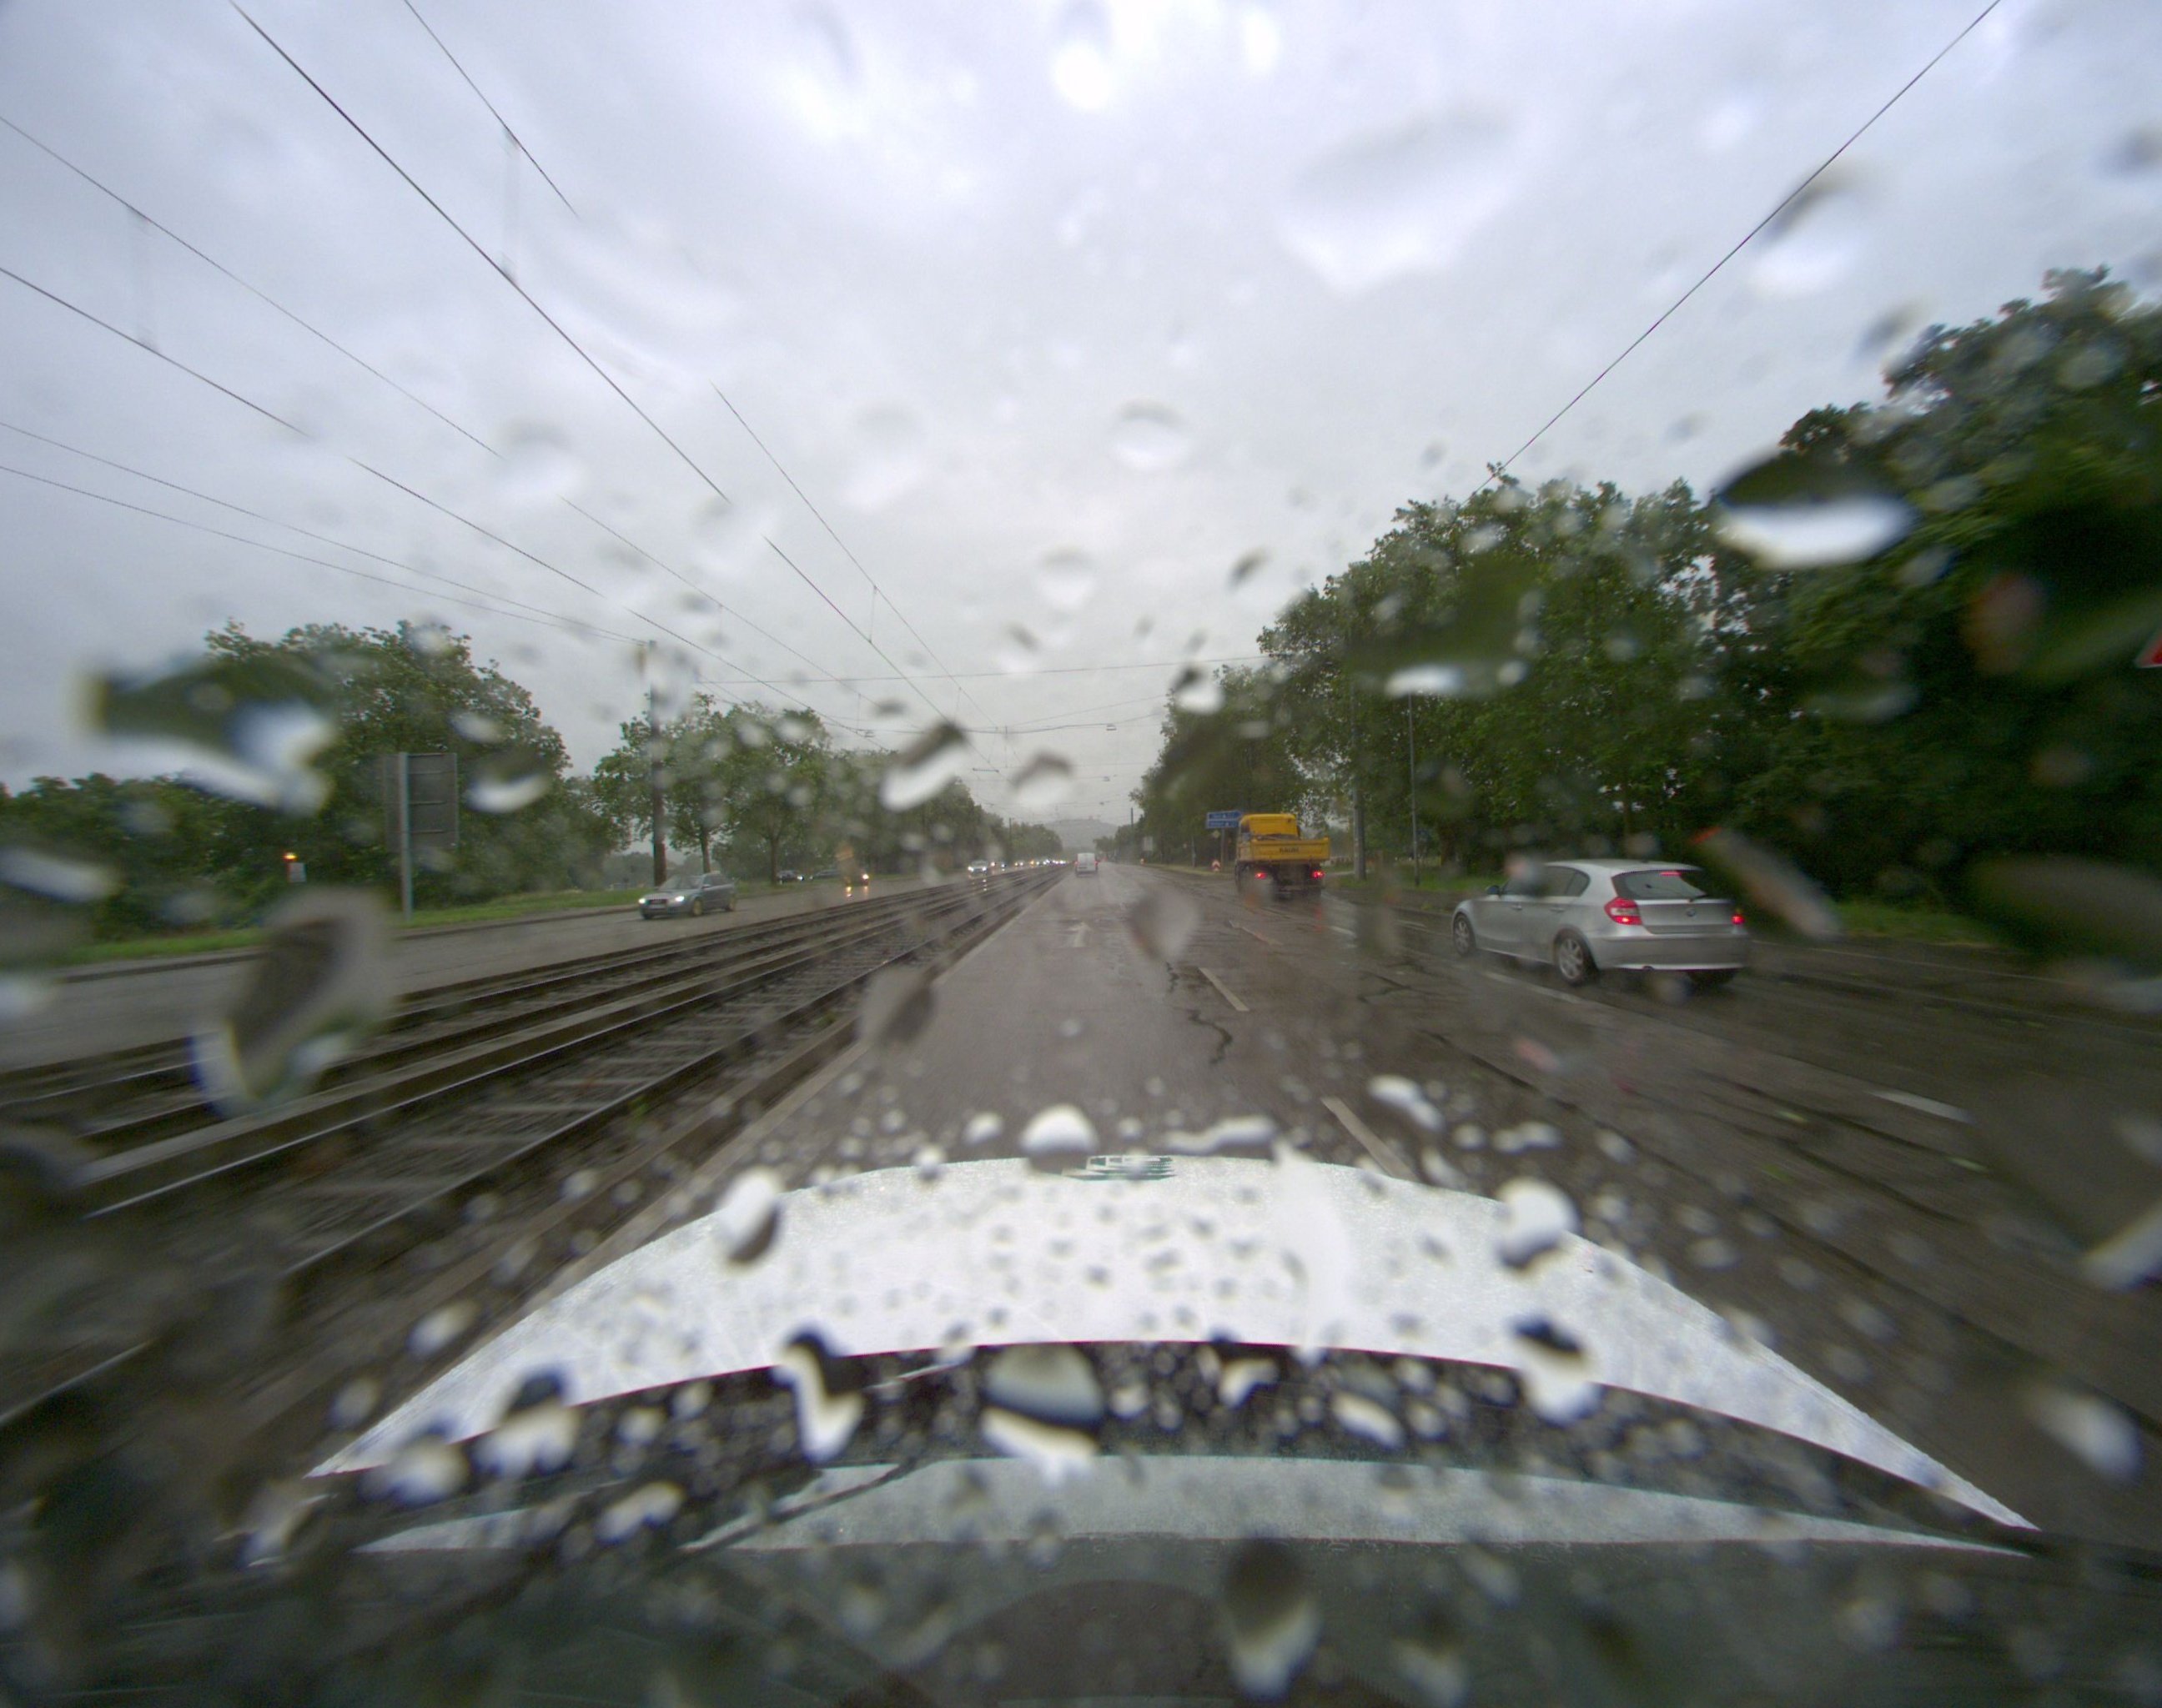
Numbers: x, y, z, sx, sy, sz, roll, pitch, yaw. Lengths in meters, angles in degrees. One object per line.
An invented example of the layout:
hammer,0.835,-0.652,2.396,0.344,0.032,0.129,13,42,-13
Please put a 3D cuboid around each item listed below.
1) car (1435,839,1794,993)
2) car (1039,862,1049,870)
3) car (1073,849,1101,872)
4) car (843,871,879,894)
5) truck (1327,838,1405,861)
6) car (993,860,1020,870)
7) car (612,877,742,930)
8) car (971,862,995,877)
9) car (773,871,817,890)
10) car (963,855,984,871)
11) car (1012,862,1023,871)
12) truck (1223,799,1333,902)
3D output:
car,6.273,0.581,10.351,1.621,1.503,4.607,-1,1,1
car,-7.914,2.462,174.744,1.783,1.549,5.316,-1,1,2
car,0.505,0.459,62.715,1.981,1.684,3.742,-1,1,2
car,-17.099,2.187,63.479,1.683,1.552,4.000,-1,1,0
truck,65.861,-1.042,188.707,16.559,4.158,3.312,-5,-2,31
car,-13.802,2.001,150.698,2.063,1.798,4.794,0,1,40
car,-13.338,1.576,27.312,1.752,1.362,5.072,-1,1,1
car,-9.955,1.597,83.127,1.735,1.354,4.547,-1,1,1
car,-27.650,2.558,78.755,4.590,1.686,1.859,0,1,40
car,-12.515,1.016,95.141,1.881,1.809,5.003,-1,1,-1
car,-13.852,2.652,177.662,1.813,1.706,5.021,-1,1,1
truck,6.881,-0.170,29.418,2.546,3.257,6.937,-1,1,2
